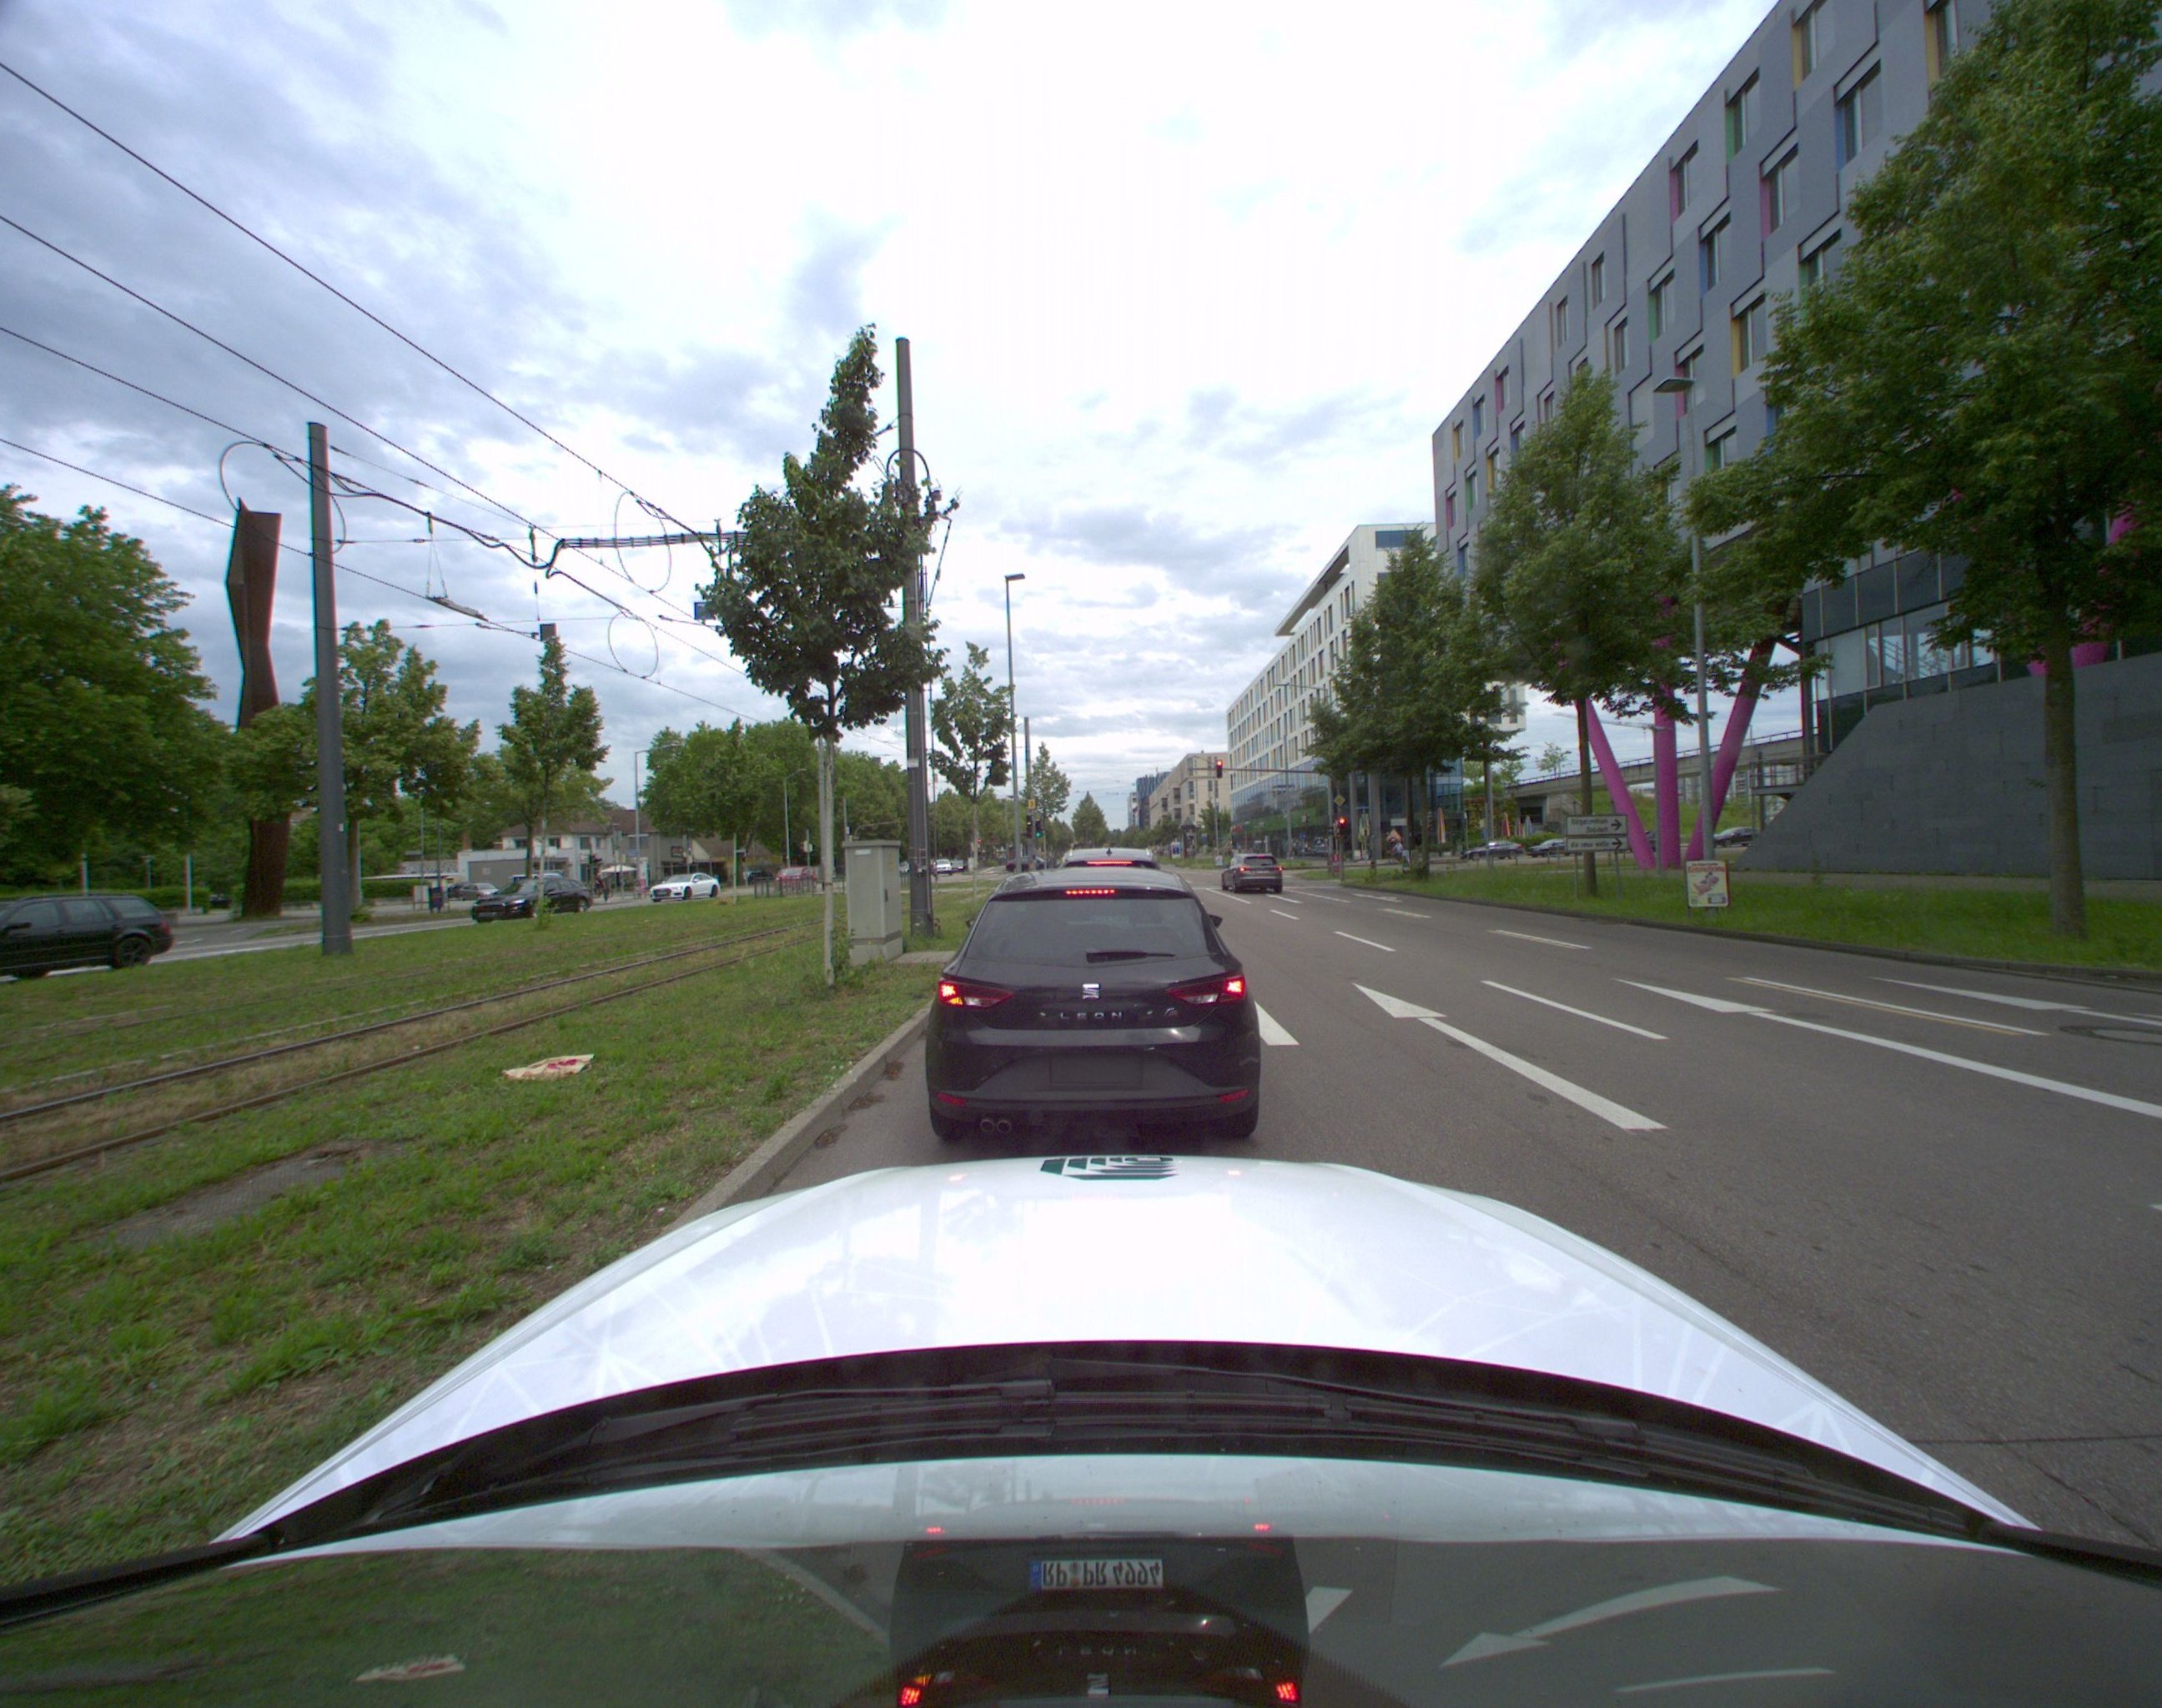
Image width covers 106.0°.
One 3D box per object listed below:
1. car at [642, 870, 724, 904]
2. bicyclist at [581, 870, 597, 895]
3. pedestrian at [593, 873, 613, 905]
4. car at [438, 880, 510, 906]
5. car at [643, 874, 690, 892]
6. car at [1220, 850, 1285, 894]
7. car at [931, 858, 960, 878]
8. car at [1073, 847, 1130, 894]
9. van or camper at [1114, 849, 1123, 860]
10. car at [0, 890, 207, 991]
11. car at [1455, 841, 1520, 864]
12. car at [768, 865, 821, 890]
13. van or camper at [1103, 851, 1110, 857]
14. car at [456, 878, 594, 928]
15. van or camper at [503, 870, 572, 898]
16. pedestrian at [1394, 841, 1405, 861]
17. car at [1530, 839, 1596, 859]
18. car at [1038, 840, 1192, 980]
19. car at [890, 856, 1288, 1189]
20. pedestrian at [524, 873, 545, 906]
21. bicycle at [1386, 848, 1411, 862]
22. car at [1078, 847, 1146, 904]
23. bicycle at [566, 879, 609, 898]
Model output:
[{"bbox_3d":[-21.962,1.769,45.176,1.804,1.588,5.081,-2,0,3],"label":"car"},{"bbox_3d":[-35.635,2.071,58.998,0.854,1.721,0.715,-2,0,-25],"label":"bicyclist"},{"bbox_3d":[-27.804,2.032,47.387,0.779,1.832,0.771,-2,0,-16],"label":"pedestrian"},{"bbox_3d":[-48.360,3.091,64.922,4.258,1.816,2.111,-2,0,6],"label":"car"},{"bbox_3d":[-47.135,3.331,92.710,4.258,1.816,2.111,-2,0,6],"label":"car"},{"bbox_3d":[6.542,0.639,31.495,1.741,1.499,4.271,-2,1,2],"label":"car"},{"bbox_3d":[-13.027,1.335,78.671,1.987,1.750,4.201,-2,0,1],"label":"car"},{"bbox_3d":[0.849,0.579,31.264,1.985,1.682,4.005,-1,0,4],"label":"car"},{"bbox_3d":[8.947,0.062,193.869,2.101,2.355,4.927,-1,2,2],"label":"van or camper"},{"bbox_3d":[-17.677,1.460,13.463,1.662,1.426,4.734,-4,0,-7],"label":"car"},{"bbox_3d":[31.848,-0.099,63.858,4.233,1.615,1.759,-2,0,3],"label":"car"},{"bbox_3d":[-18.435,1.495,52.584,1.805,1.377,4.270,-2,0,1],"label":"car"},{"bbox_3d":[7.411,0.041,240.118,1.986,1.615,4.792,-1,1,2],"label":"van or camper"},{"bbox_3d":[-18.625,1.580,27.524,1.795,1.377,4.058,-2,0,1],"label":"car"},{"bbox_3d":[-41.618,2.296,62.328,5.212,2.013,2.481,-2,0,34],"label":"van or camper"},{"bbox_3d":[25.725,-0.216,65.843,0.612,1.604,0.619,-2,0,4],"label":"pedestrian"},{"bbox_3d":[37.864,-0.394,64.035,4.063,1.455,1.759,-2,0,3],"label":"car"},{"bbox_3d":[0.473,0.665,11.812,1.796,1.624,4.002,-2,0,2],"label":"car"},{"bbox_3d":[0.073,0.749,5.590,1.737,1.417,4.001,-1,0,1],"label":"car"},{"bbox_3d":[-33.995,2.211,50.671,0.910,2.013,0.942,-2,0,-40],"label":"pedestrian"},{"bbox_3d":[25.683,0.052,65.844,1.784,1.085,0.618,-2,0,3],"label":"bicycle"},{"bbox_3d":[1.078,0.637,26.193,1.984,1.682,4.005,-1,0,5],"label":"car"},{"bbox_3d":[-35.713,2.476,58.957,2.520,1.202,0.734,-2,0,-25],"label":"bicycle"}]
